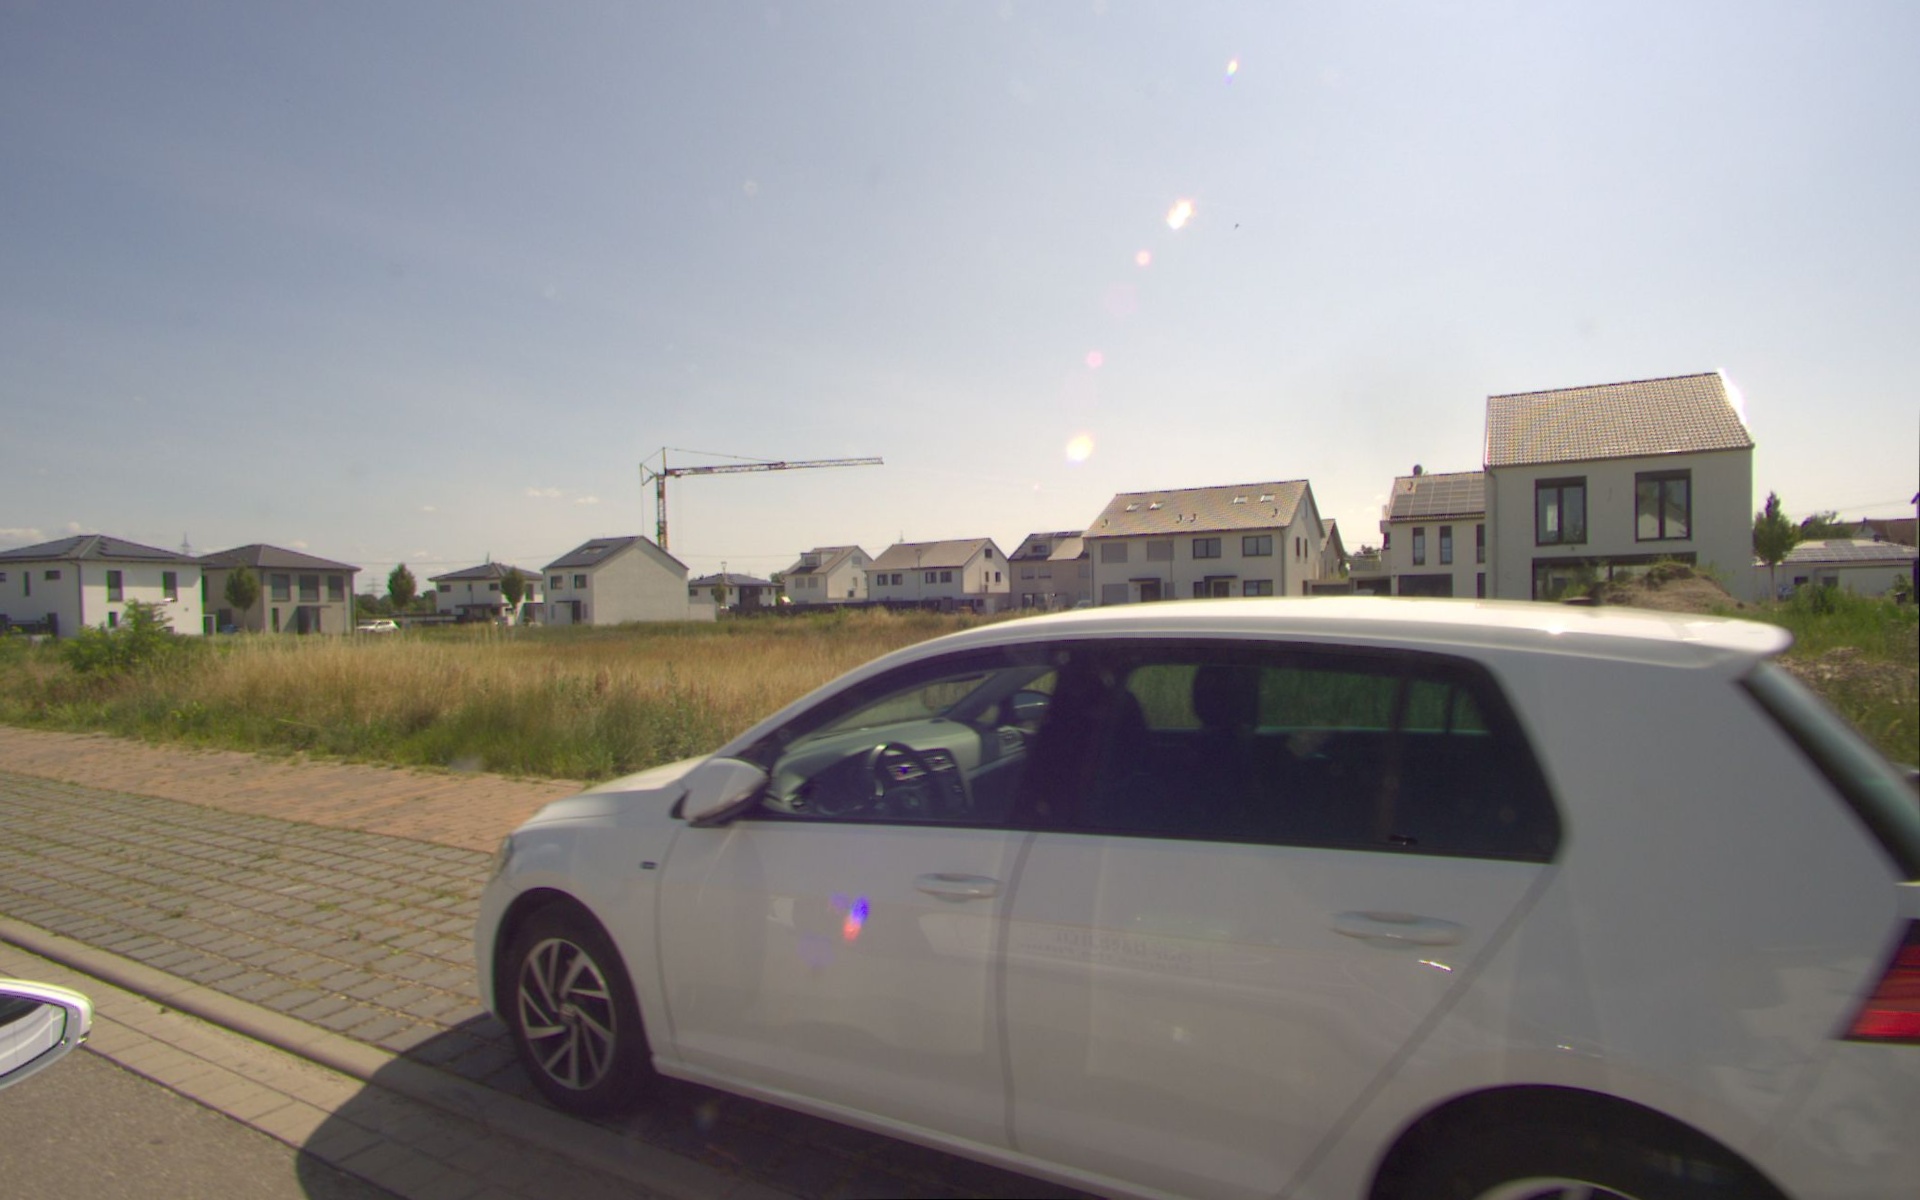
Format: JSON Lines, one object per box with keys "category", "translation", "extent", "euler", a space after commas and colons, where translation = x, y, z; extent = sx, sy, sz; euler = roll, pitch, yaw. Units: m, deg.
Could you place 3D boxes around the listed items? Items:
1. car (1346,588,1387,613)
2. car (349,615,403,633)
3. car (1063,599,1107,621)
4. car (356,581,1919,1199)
{"category": "car", "translation": [26.589, 0.035, 65.463], "extent": [1.790, 1.532, 3.977], "euler": [-1, 0, 33]}
{"category": "car", "translation": [-50.700, 2.093, 87.019], "extent": [1.719, 1.416, 3.994], "euler": [-2, -1, 16]}
{"category": "car", "translation": [9.547, 0.759, 76.286], "extent": [1.790, 1.595, 3.977], "euler": [-1, 0, 33]}
{"category": "car", "translation": [0.220, 0.722, 3.070], "extent": [4.104, 1.439, 1.772], "euler": [-1, 2, 31]}
